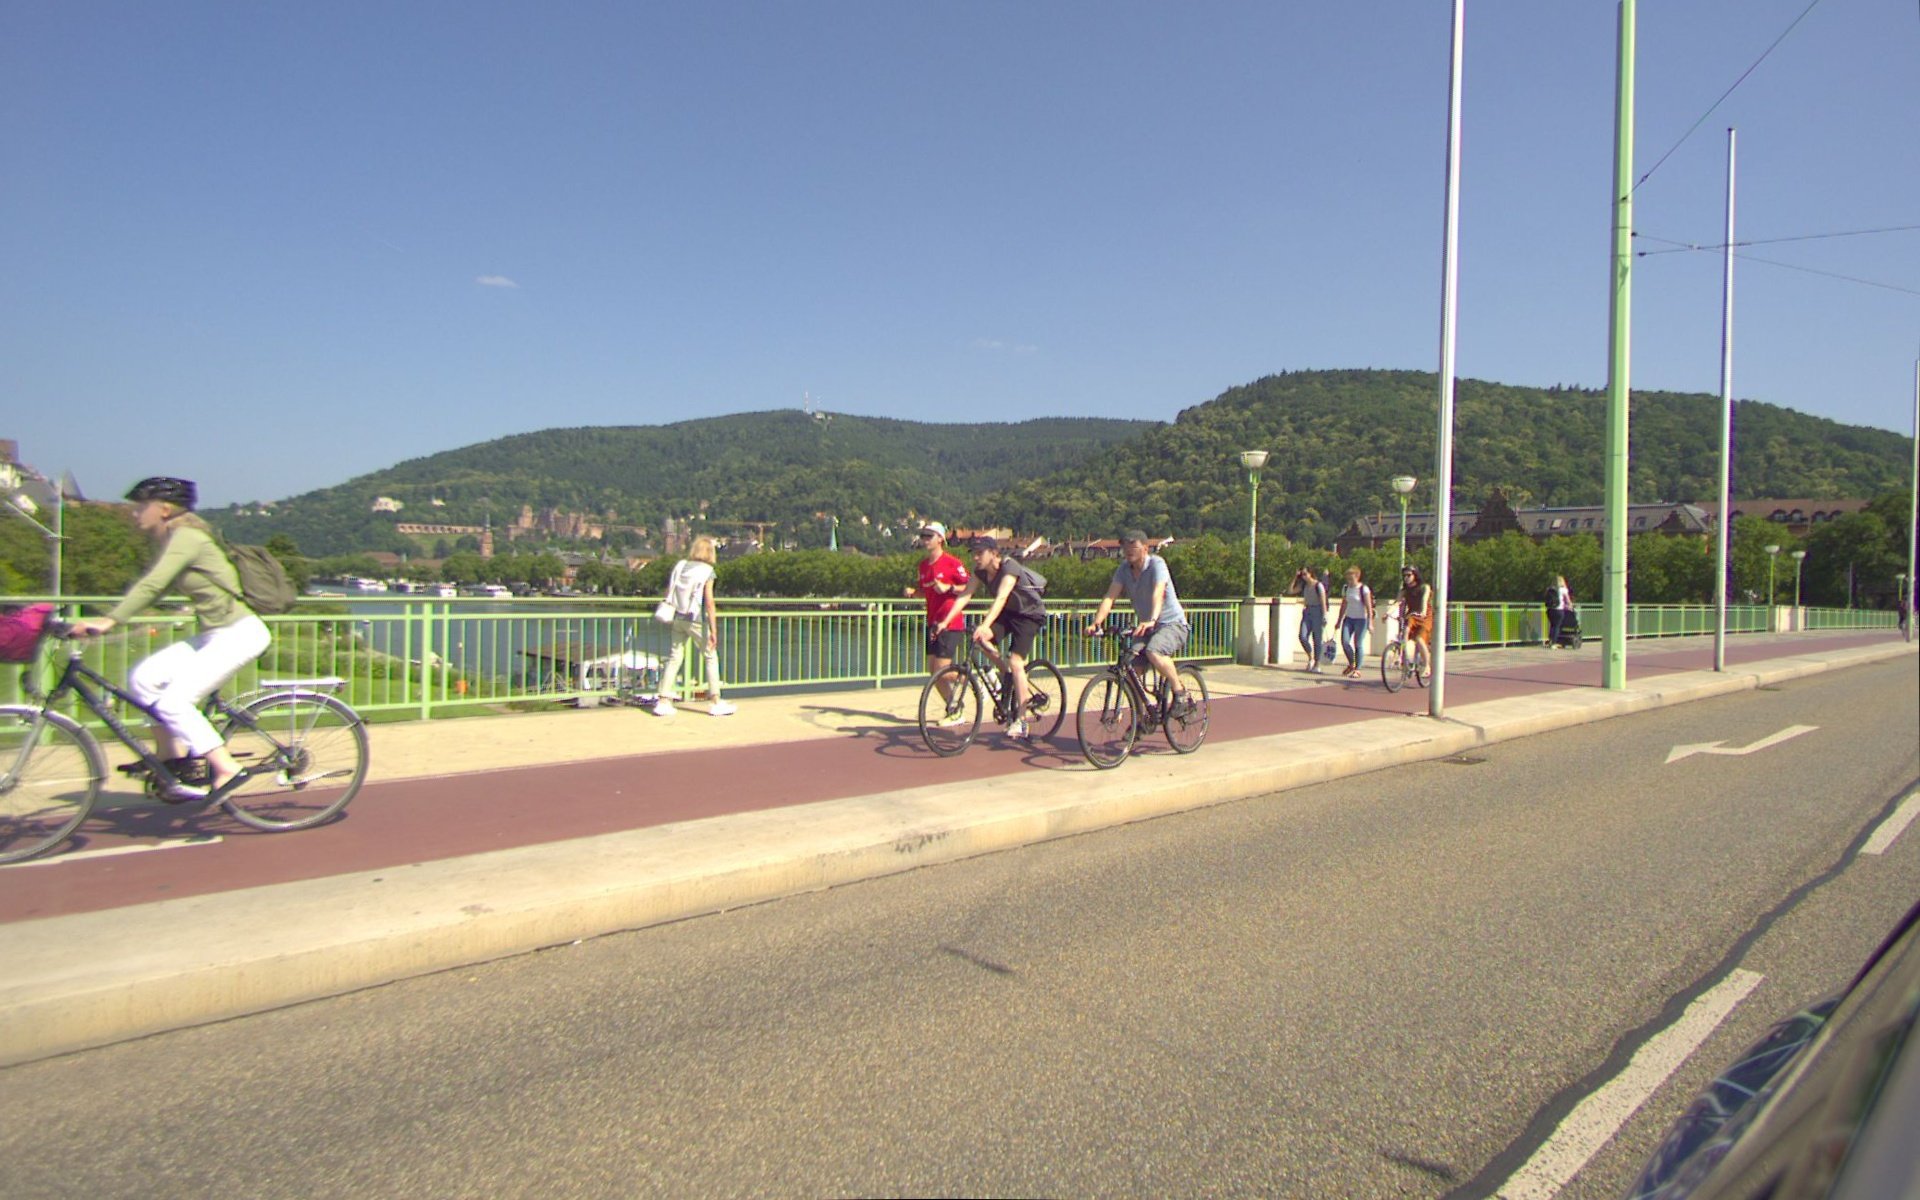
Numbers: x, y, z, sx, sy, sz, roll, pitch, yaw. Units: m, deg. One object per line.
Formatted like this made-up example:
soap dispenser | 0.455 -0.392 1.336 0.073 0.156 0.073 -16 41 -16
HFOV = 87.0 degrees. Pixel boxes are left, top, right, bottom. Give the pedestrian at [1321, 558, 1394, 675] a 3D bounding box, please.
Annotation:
pedestrian | 5.963 0.230 15.186 0.810 1.679 0.664 0 2 -40

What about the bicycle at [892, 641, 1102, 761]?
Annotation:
bicycle | 0.339 0.773 8.207 1.800 0.775 0.594 0 2 -43

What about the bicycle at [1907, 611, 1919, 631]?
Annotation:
bicycle | 39.988 0.884 42.134 1.833 0.775 0.595 0 2 -40

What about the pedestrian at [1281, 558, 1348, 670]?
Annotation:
pedestrian | 5.511 0.195 15.752 0.733 1.679 0.668 0 2 -40

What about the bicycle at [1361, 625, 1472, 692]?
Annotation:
bicycle | 6.119 0.754 13.516 1.833 0.775 0.595 0 2 -40

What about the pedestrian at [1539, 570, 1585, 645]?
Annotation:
pedestrian | 14.220 0.167 23.902 0.844 1.727 0.664 0 2 -40

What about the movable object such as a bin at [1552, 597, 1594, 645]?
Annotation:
movable object such as a bin | 14.817 0.498 24.464 0.917 1.104 0.583 0 2 -41

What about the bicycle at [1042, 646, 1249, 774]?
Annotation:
bicycle | 1.488 0.805 7.882 1.835 0.775 0.594 0 2 -43

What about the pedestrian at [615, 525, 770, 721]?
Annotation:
pedestrian | -2.494 0.173 9.415 1.063 1.683 0.949 0 2 -40

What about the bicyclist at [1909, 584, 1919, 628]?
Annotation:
bicyclist | 39.970 0.251 42.091 0.660 1.791 0.587 0 1 -40

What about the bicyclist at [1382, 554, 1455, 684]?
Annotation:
bicyclist | 6.124 0.238 13.509 0.689 1.671 0.606 0 2 -39

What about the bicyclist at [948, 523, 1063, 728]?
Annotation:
bicyclist | 0.368 0.183 8.199 0.690 1.578 0.587 0 2 -42

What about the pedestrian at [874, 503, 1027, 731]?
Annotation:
pedestrian | -0.084 0.125 9.318 1.108 1.948 0.812 0 2 -41

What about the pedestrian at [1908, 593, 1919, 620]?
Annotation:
pedestrian | 59.549 0.405 62.765 1.063 1.683 0.949 0 3 -40

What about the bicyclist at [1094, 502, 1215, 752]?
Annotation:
bicyclist | 1.519 0.185 7.886 0.690 1.842 0.587 0 2 -42

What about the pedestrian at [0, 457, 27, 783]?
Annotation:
pedestrian | -6.306 0.104 5.980 1.117 1.921 0.928 0 2 -40

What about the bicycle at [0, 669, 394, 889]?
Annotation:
bicycle | -3.752 0.785 4.739 1.835 0.775 0.594 0 2 -43

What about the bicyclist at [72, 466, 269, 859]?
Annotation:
bicyclist | -3.709 0.255 4.754 0.690 1.671 0.587 0 2 -42
